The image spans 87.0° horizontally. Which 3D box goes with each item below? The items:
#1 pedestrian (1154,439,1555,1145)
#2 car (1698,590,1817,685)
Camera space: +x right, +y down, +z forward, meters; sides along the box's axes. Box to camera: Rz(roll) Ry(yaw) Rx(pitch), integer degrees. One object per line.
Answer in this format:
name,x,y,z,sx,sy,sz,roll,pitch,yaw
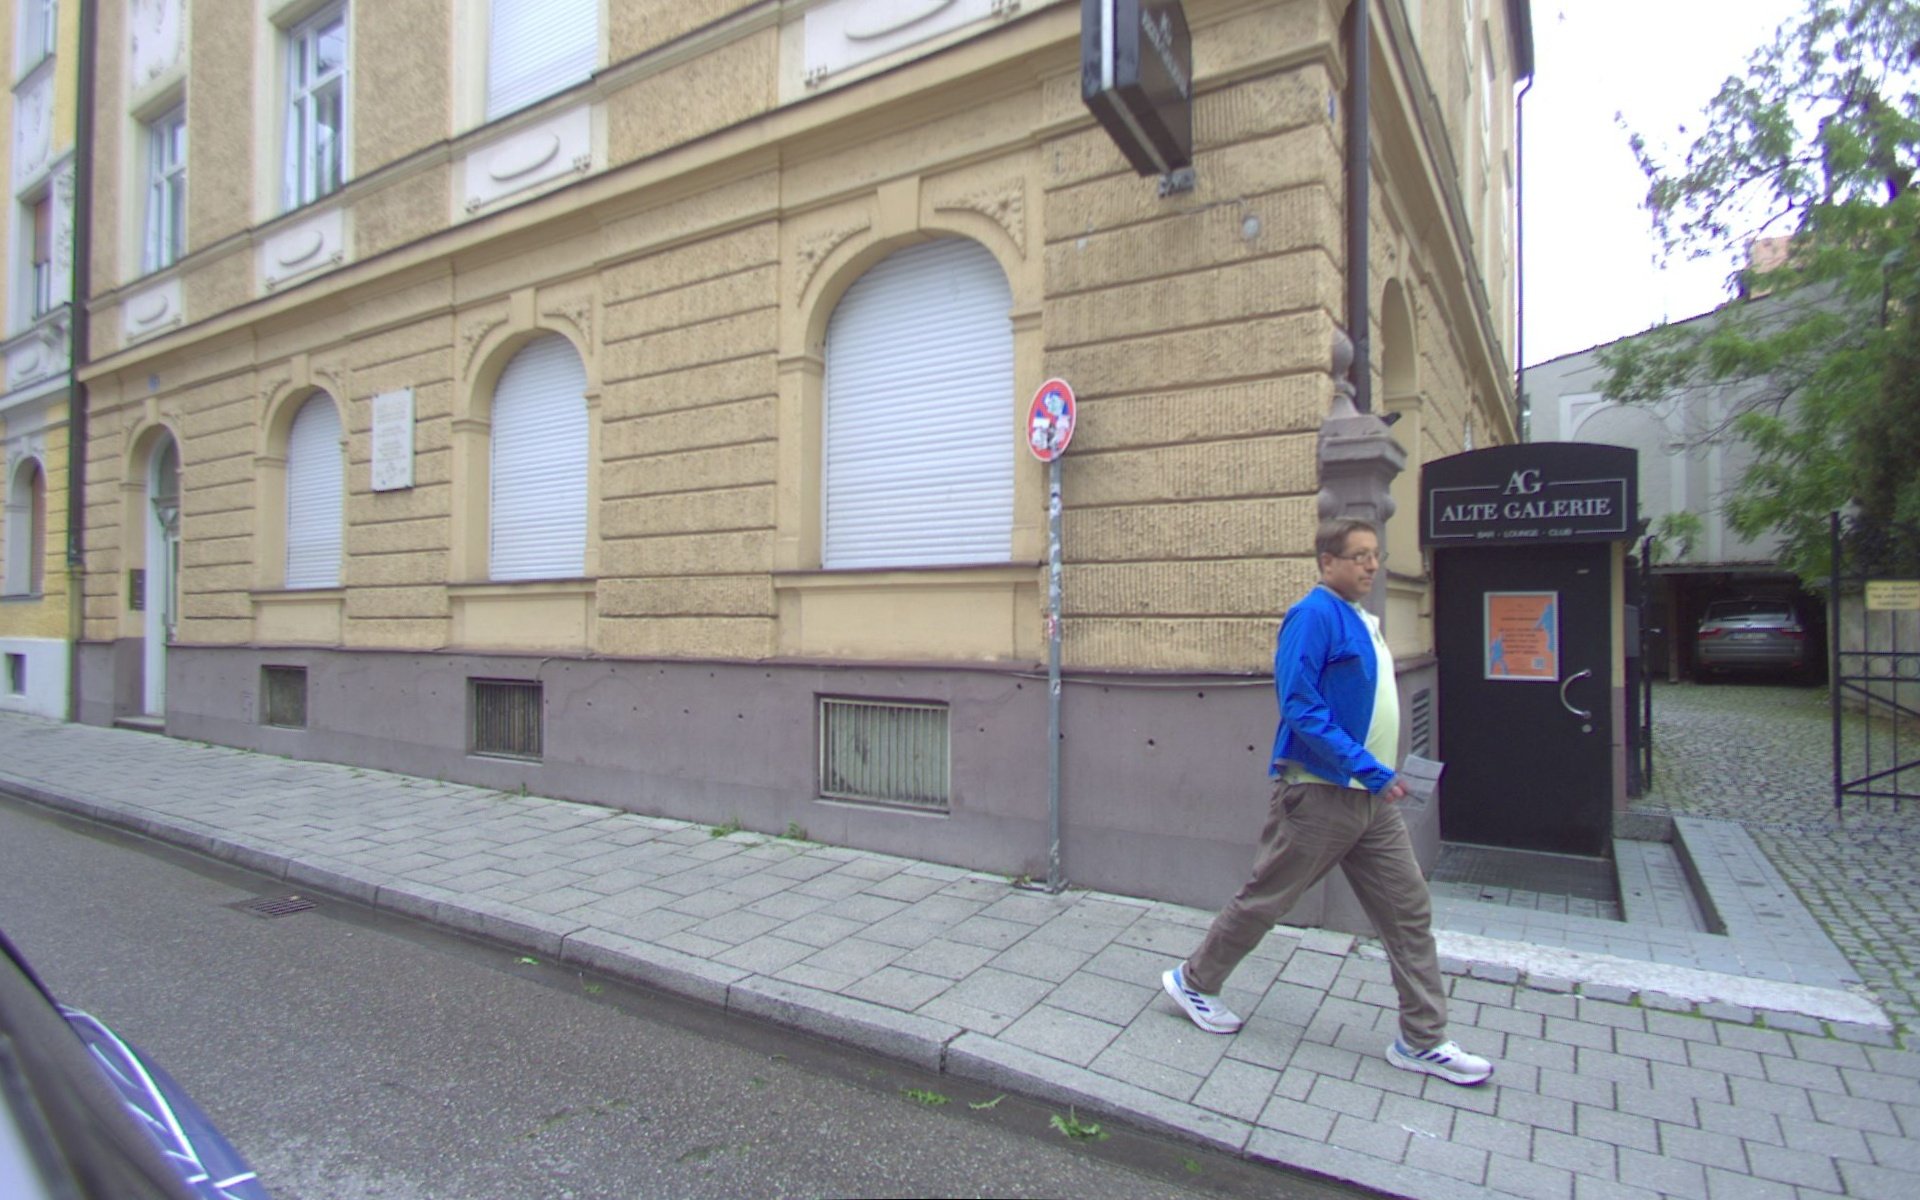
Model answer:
pedestrian,1.287,0.511,3.290,1.073,1.868,0.751,-1,0,32
car,15.236,0.648,19.436,1.632,1.552,3.686,-1,1,37
